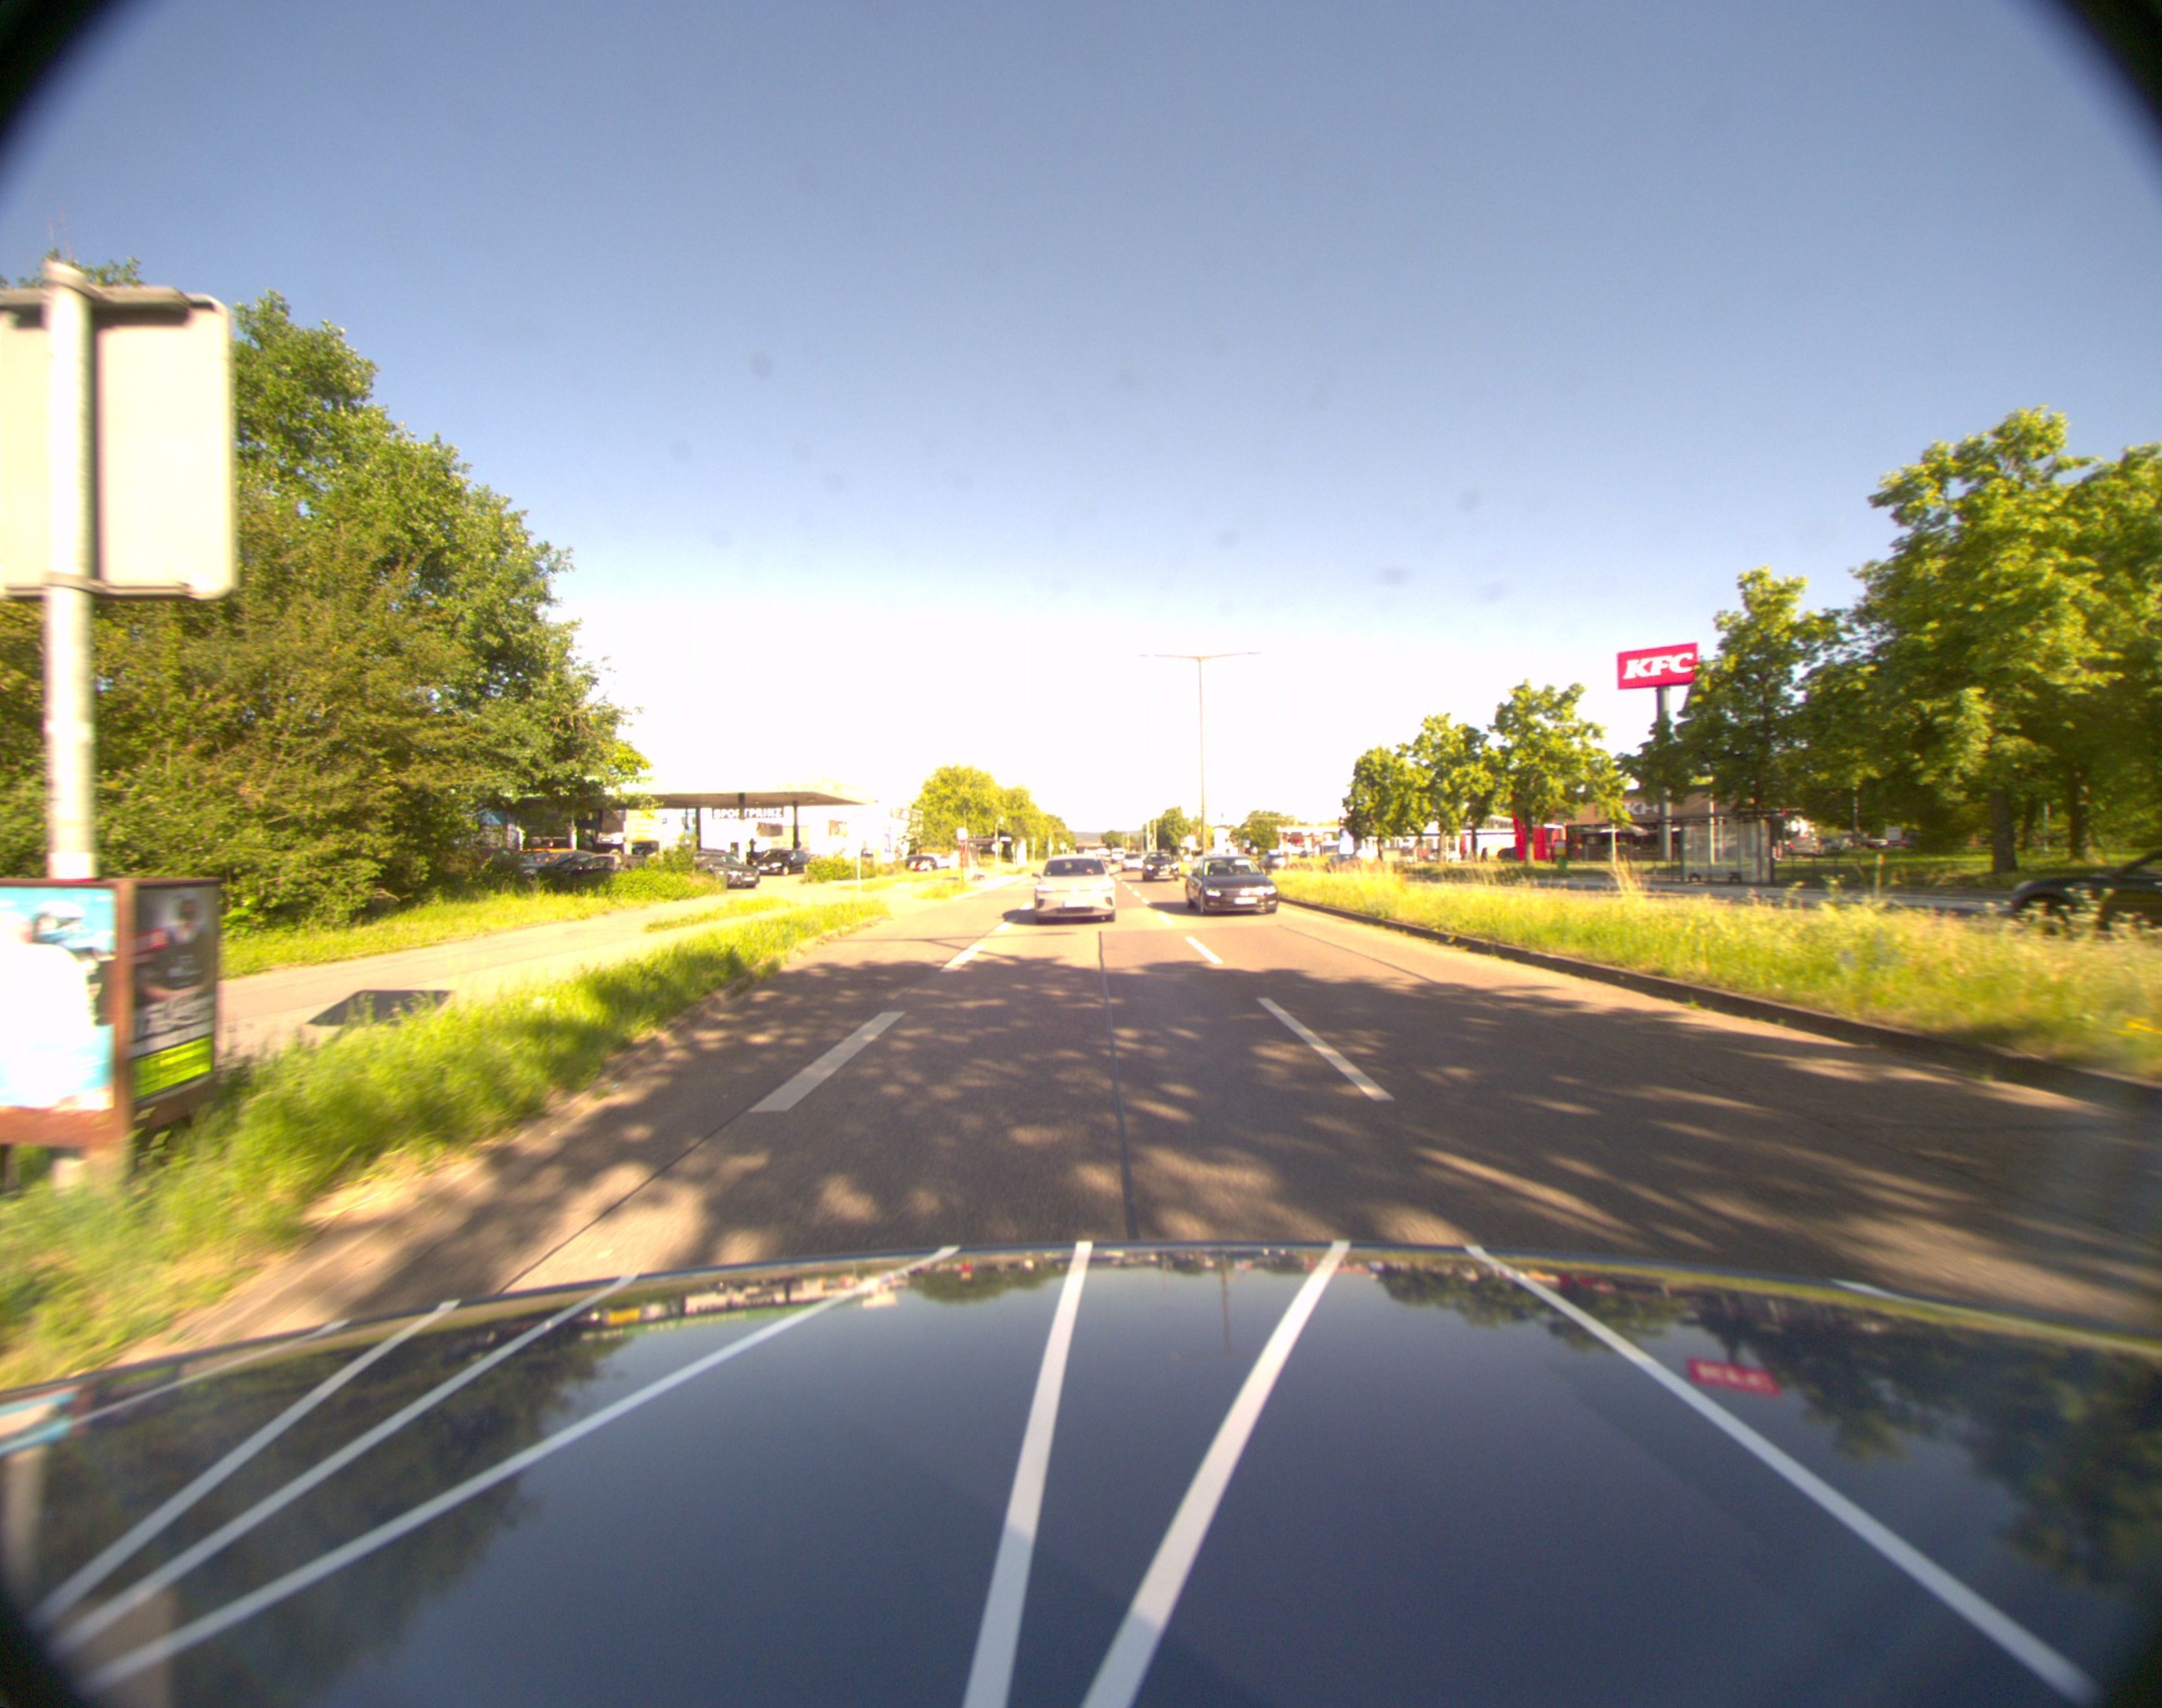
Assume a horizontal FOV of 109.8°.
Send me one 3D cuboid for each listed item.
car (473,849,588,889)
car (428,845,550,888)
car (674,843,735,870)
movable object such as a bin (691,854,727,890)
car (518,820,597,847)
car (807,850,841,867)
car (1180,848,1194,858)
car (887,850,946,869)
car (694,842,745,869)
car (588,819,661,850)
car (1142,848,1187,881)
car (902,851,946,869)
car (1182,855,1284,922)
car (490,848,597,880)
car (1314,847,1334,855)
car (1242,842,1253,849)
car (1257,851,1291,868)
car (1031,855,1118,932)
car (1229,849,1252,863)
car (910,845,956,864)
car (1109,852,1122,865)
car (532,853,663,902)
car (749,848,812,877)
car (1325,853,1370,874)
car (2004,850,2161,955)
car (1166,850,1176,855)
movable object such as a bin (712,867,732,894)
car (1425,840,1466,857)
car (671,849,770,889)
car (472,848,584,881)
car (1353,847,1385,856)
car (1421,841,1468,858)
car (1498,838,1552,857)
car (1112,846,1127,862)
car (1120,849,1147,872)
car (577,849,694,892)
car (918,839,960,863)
[{"bbox_3d":[-22.470,0.565,31.223,1.728,1.455,3.915,-3,1,1],"label":"car"},{"bbox_3d":[-24.543,0.476,31.716,1.717,1.598,4.135,-3,1,1],"label":"car"},{"bbox_3d":[-29.577,0.171,59.744,3.700,1.896,1.924,-3,1,1],"label":"car"},{"bbox_3d":[-15.563,0.755,31.794,0.991,1.420,1.257,-2,0,-42],"label":"movable object such as a bin"},{"bbox_3d":[-30.315,-1.167,44.129,1.923,1.469,3.627,0,1,2],"label":"car"},{"bbox_3d":[-23.461,0.395,69.516,1.771,1.245,4.214,4,3,-1],"label":"car"},{"bbox_3d":[18.499,-0.200,132.727,1.998,1.674,4.177,0,1,1],"label":"car"},{"bbox_3d":[-14.563,0.495,67.433,1.895,1.522,4.846,2,1,45],"label":"car"},{"bbox_3d":[-21.715,0.111,45.560,2.003,1.477,3.990,-3,1,-35],"label":"car"},{"bbox_3d":[-27.264,-1.143,45.524,1.923,1.745,3.778,0,1,2],"label":"car"},{"bbox_3d":[4.532,0.530,42.025,1.998,1.674,4.696,-3,1,1],"label":"car"},{"bbox_3d":[-14.831,0.523,71.734,3.614,1.283,1.841,6,1,2],"label":"car"},{"bbox_3d":[3.799,0.799,19.696,1.848,1.445,4.265,-2,0,2],"label":"car"},{"bbox_3d":[-26.779,0.485,37.964,3.998,1.508,1.735,0,1,-3],"label":"car"},{"bbox_3d":[39.211,-0.456,122.581,1.900,1.317,4.119,0,1,0],"label":"car"},{"bbox_3d":[40.485,-1.979,184.397,1.762,1.604,4.119,0,1,0],"label":"car"},{"bbox_3d":[16.842,0.450,66.597,1.822,1.426,4.630,1,1,1],"label":"car"},{"bbox_3d":[-0.082,0.871,18.857,1.848,1.615,4.265,-2,0,2],"label":"car"},{"bbox_3d":[17.380,0.187,83.007,1.645,1.442,4.111,1,1,1],"label":"car"},{"bbox_3d":[-14.567,0.058,74.731,3.924,1.444,1.726,6,2,12],"label":"car"},{"bbox_3d":[5.683,0.682,125.264,1.998,2.002,4.000,-3,1,1],"label":"car"},{"bbox_3d":[-16.587,0.785,26.174,3.292,1.477,1.772,-3,1,3],"label":"car"},{"bbox_3d":[-17.143,0.466,43.585,1.748,1.563,4.249,-1,0,2],"label":"car"},{"bbox_3d":[20.678,0.711,59.066,1.919,1.446,4.489,1,1,1],"label":"car"},{"bbox_3d":[15.952,0.680,10.347,1.821,1.434,4.089,-1,1,1],"label":"car"},{"bbox_3d":[23.390,-0.451,198.088,1.998,1.368,4.623,-1,1,1],"label":"car"},{"bbox_3d":[-14.421,1.067,30.489,0.583,1.068,0.508,-2,1,-41],"label":"movable object such as a bin"},{"bbox_3d":[41.646,-0.621,86.843,1.850,1.840,3.820,-3,1,-39],"label":"car"},{"bbox_3d":[-16.391,0.649,34.473,4.547,1.630,1.805,2,1,31],"label":"car"},{"bbox_3d":[-26.235,0.466,36.167,3.998,1.508,1.697,0,1,-3],"label":"car"},{"bbox_3d":[44.415,-0.408,117.236,4.116,1.424,1.901,0,1,1],"label":"car"},{"bbox_3d":[39.521,-0.464,82.578,1.899,1.652,4.122,-3,1,-42],"label":"car"},{"bbox_3d":[44.218,-0.635,75.744,1.899,1.652,4.231,-3,1,-42],"label":"car"},{"bbox_3d":[5.628,-0.077,111.668,2.089,2.229,4.000,-3,1,1],"label":"car"},{"bbox_3d":[4.469,0.547,65.067,1.998,1.779,4.270,-3,1,1],"label":"car"},{"bbox_3d":[-16.537,0.583,28.330,3.292,1.409,1.728,-3,1,3],"label":"car"},{"bbox_3d":[-14.562,-0.264,77.761,3.986,2.002,1.690,7,1,33],"label":"car"}]
